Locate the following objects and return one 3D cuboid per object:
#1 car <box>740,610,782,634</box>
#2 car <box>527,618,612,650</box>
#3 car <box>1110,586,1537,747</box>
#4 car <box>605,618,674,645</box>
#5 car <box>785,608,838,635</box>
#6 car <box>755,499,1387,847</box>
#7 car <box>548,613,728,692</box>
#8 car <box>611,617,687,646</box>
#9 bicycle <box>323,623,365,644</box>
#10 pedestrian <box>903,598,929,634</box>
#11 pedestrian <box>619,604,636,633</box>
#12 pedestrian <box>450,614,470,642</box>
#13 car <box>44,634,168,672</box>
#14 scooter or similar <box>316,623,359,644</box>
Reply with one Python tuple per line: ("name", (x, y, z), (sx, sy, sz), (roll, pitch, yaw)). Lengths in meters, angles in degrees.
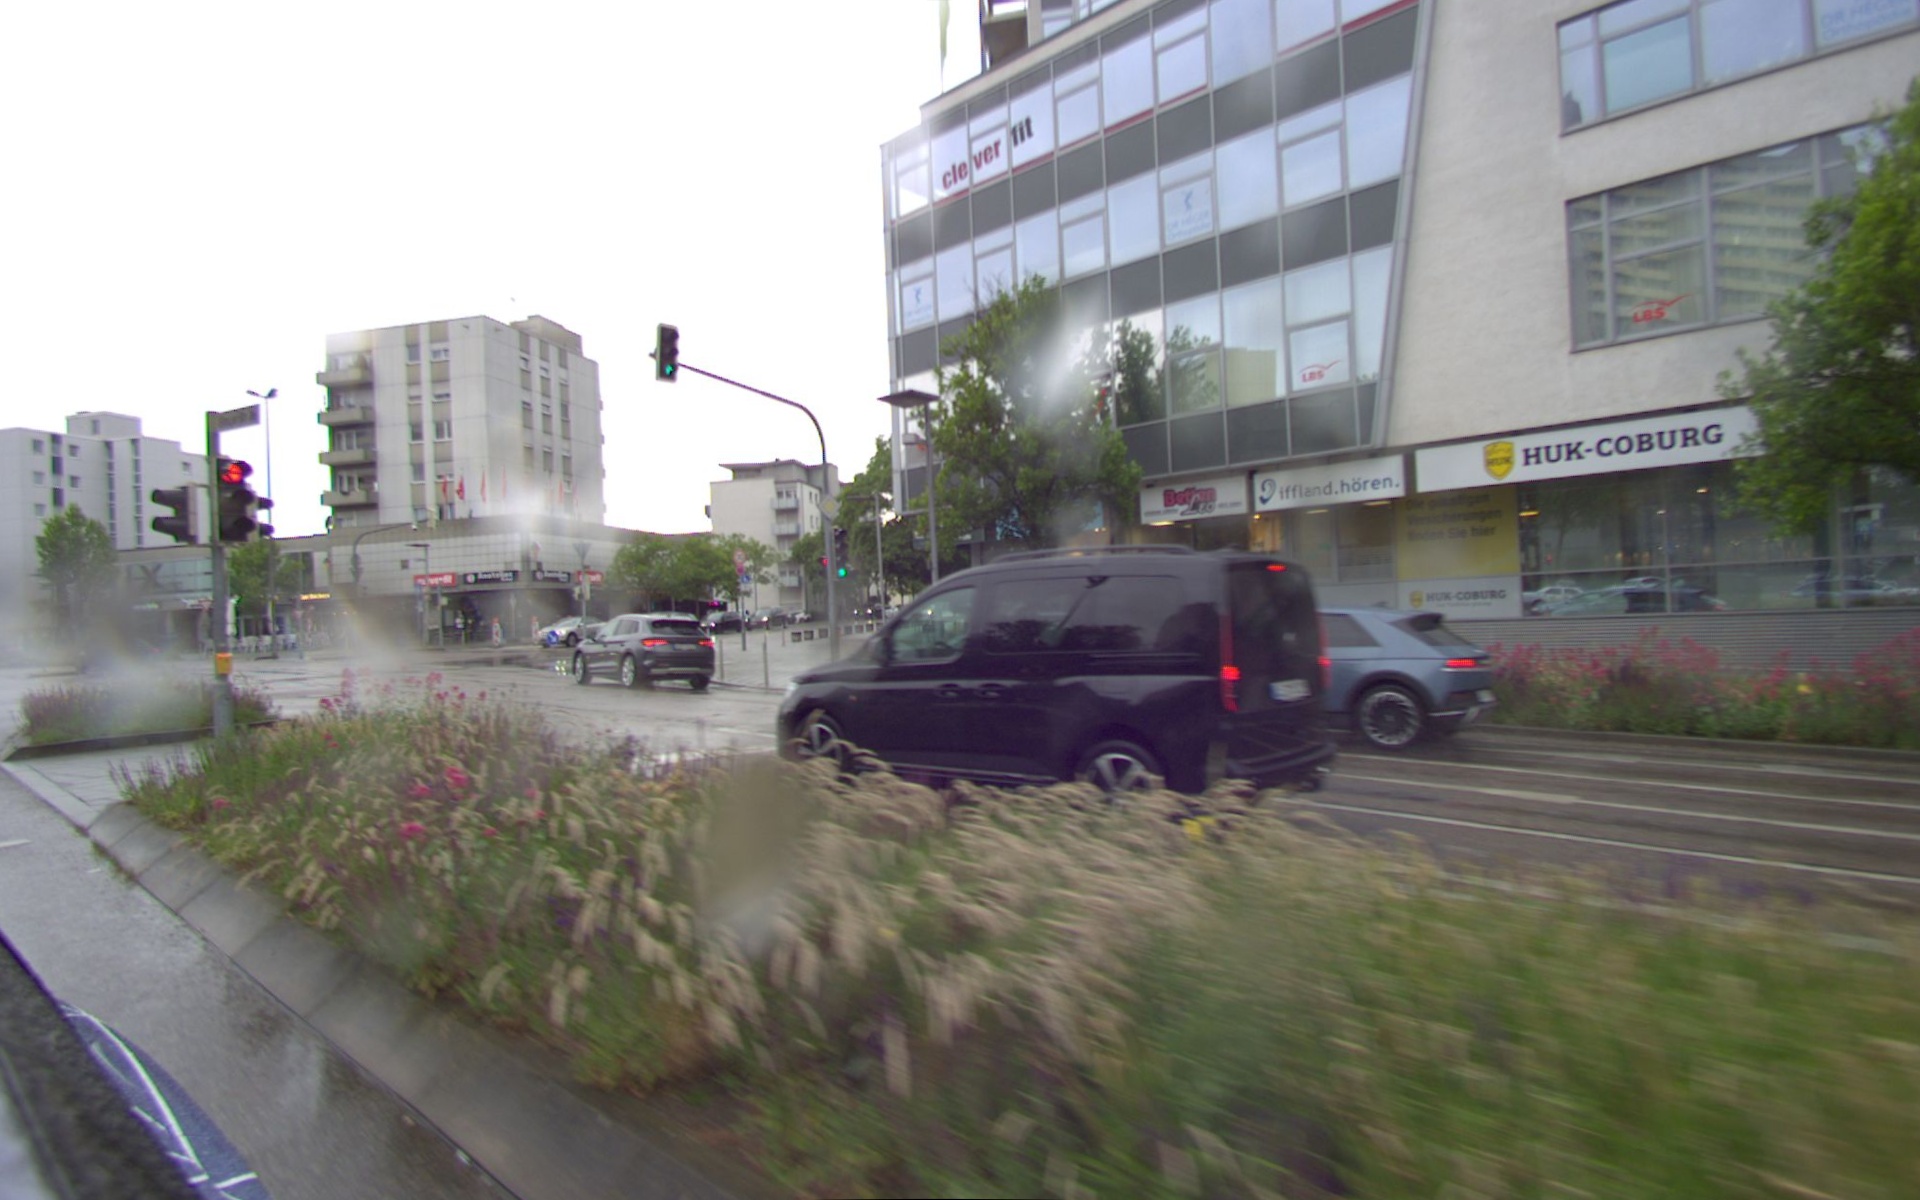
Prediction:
("car", (-14.312, 1.561, 72.974), (1.697, 1.607, 3.988), (-3, 0, 9))
("car", (-20.414, 1.755, 53.069), (1.857, 1.607, 4.176), (-1, -1, 21))
("car", (4.236, 0.774, 12.357), (4.588, 1.606, 1.754), (-2, -5, 43))
("car", (-18.856, 1.828, 59.686), (1.855, 1.431, 4.034), (-2, -1, 18))
("car", (-9.698, 1.391, 66.324), (1.855, 1.607, 3.976), (-3, 0, 18))
("car", (0.617, 0.438, 7.511), (4.296, 1.837, 1.973), (-2, -2, 41))
("car", (-7.345, 1.176, 22.851), (4.524, 1.606, 1.855), (-2, -5, 43))
("car", (-17.065, 1.708, 55.737), (1.763, 1.431, 4.024), (-3, -1, 25))
("bicycle", (-40.896, 2.203, 67.221), (0.690, 1.232, 2.540), (-3, 0, 16))
("pedestrian", (-2.597, 0.921, 59.693), (1.153, 2.029, 1.324), (-3, -1, 10))
("pedestrian", (-22.313, 1.255, 67.912), (0.805, 1.908, 0.712), (-3, -1, 30))
("pedestrian", (-32.464, 1.818, 65.727), (0.655, 1.705, 0.708), (-12, -4, 31))
("car", (-38.802, 2.430, 46.011), (4.857, 1.644, 1.917), (-1, -3, 15))
("scooter or similar", (-39.836, 2.134, 64.782), (0.637, 1.183, 2.581), (-3, 0, 15))
